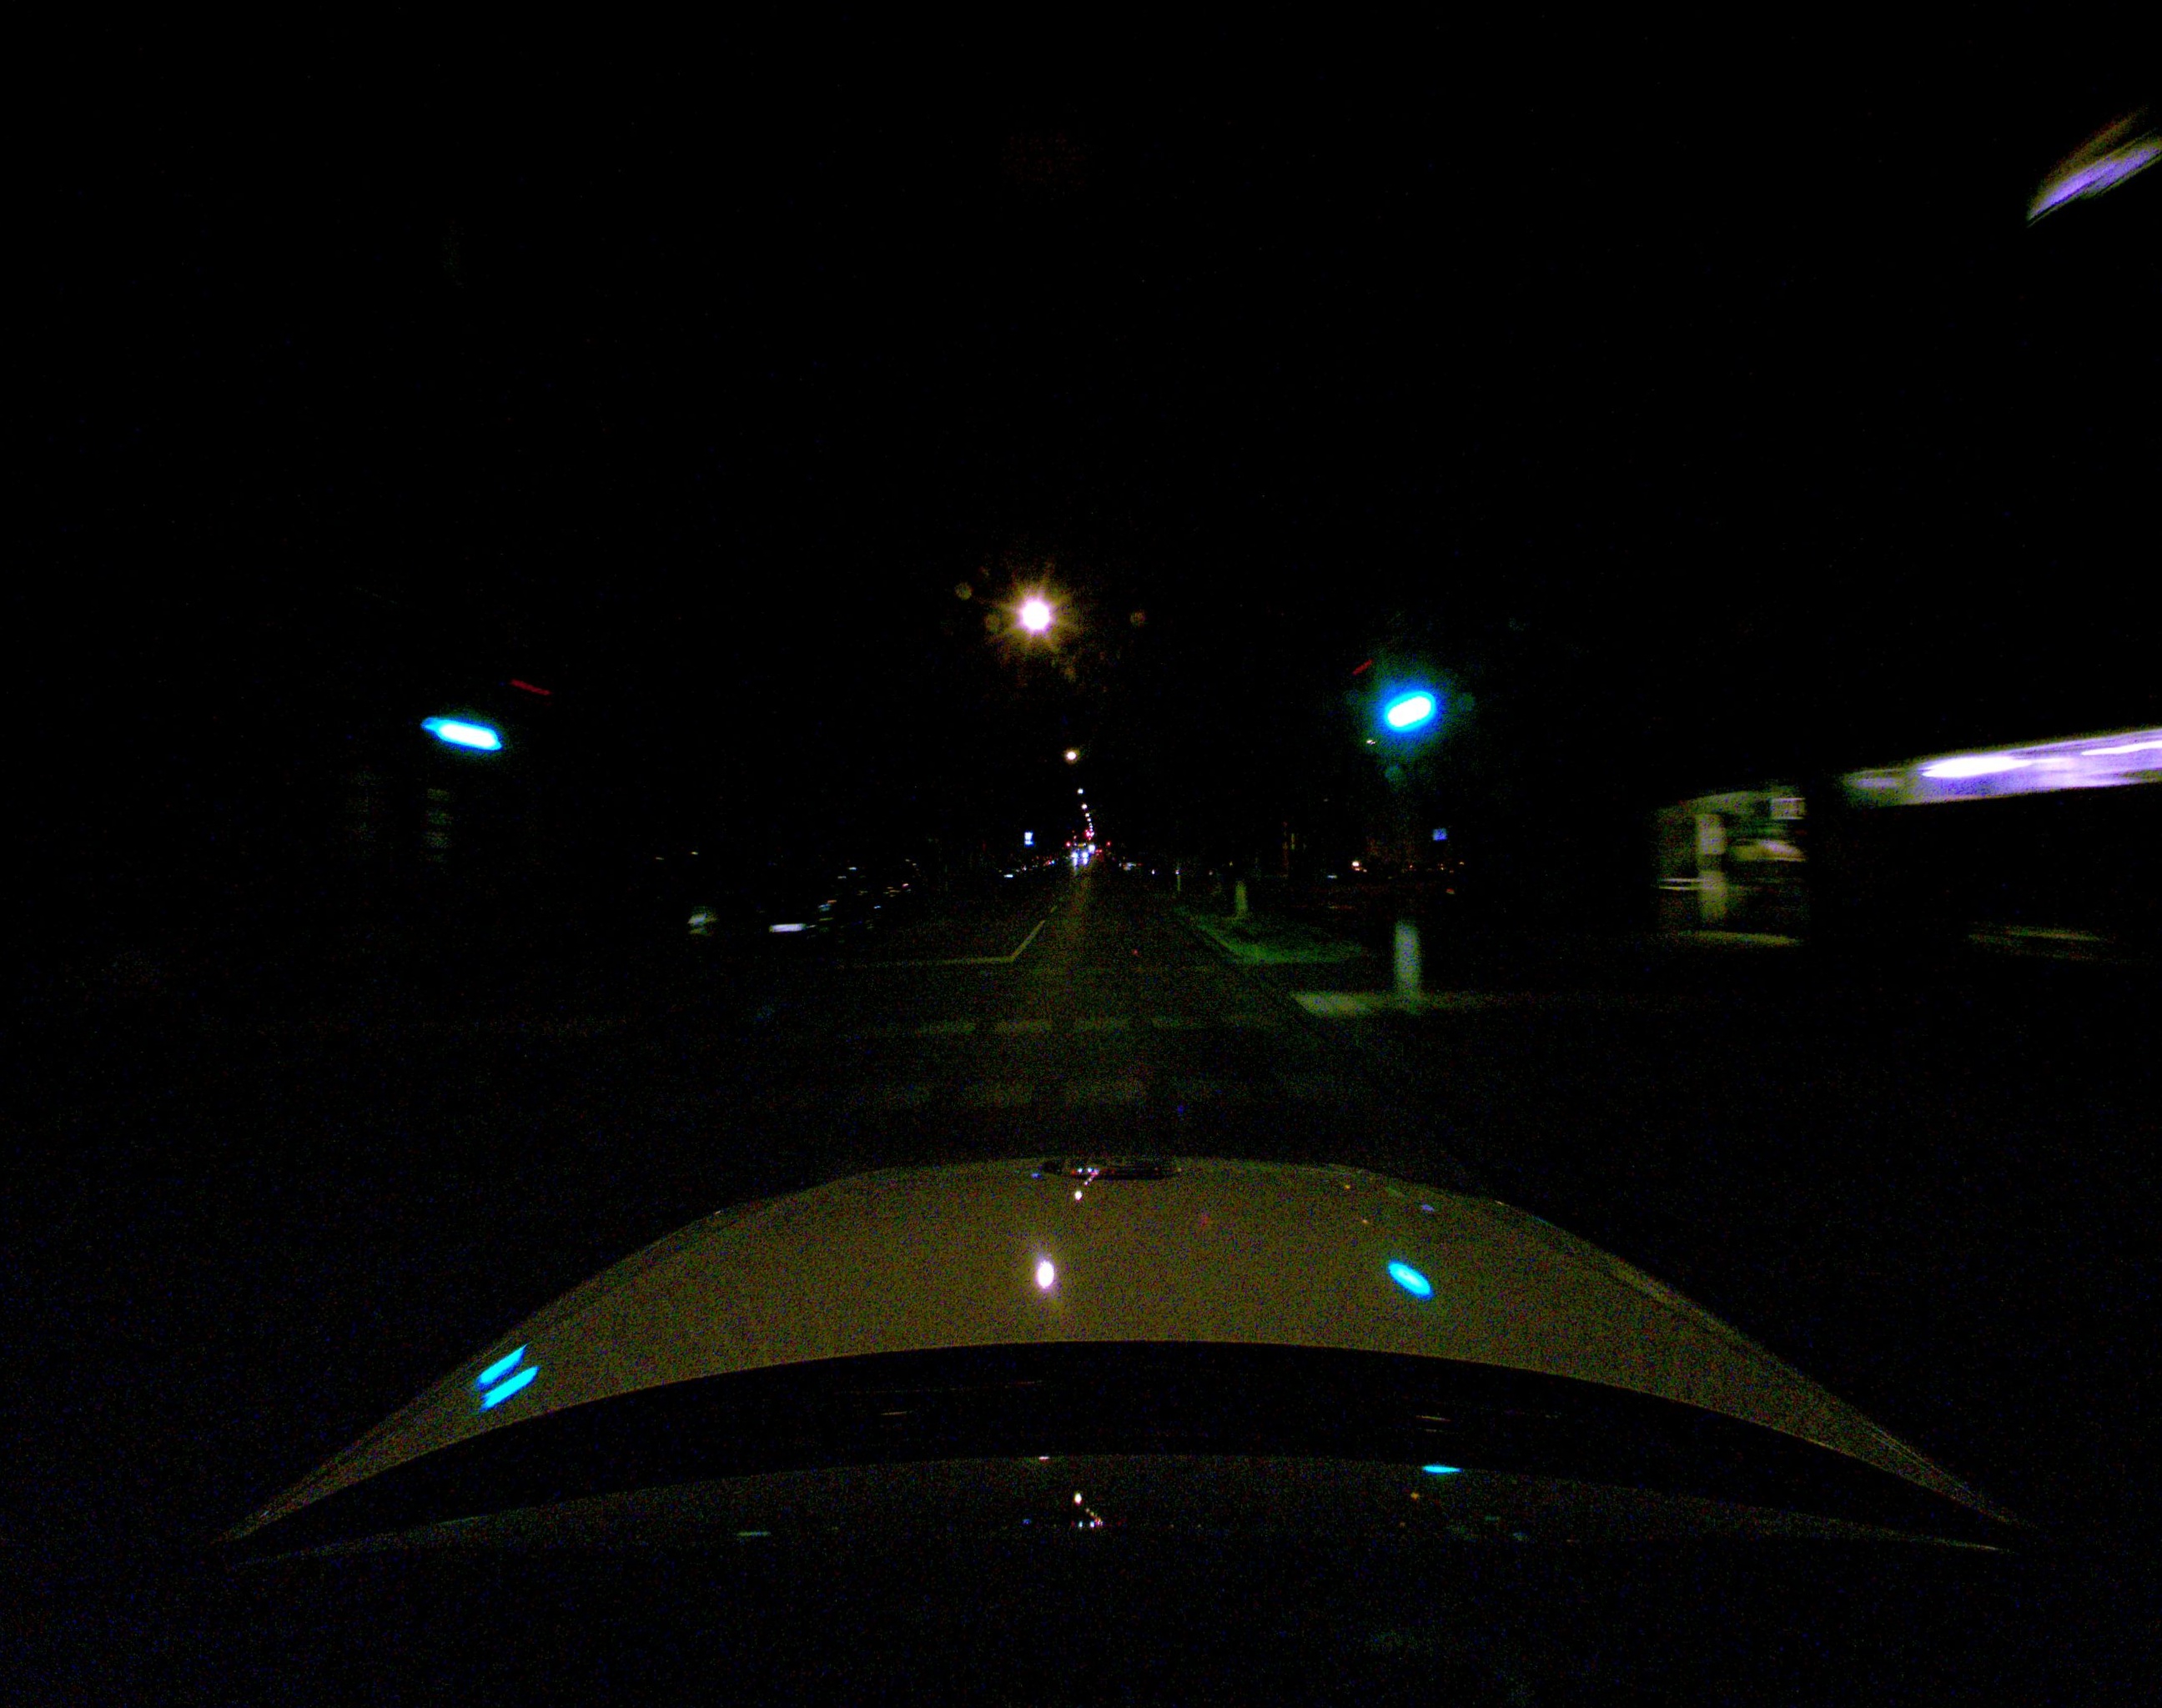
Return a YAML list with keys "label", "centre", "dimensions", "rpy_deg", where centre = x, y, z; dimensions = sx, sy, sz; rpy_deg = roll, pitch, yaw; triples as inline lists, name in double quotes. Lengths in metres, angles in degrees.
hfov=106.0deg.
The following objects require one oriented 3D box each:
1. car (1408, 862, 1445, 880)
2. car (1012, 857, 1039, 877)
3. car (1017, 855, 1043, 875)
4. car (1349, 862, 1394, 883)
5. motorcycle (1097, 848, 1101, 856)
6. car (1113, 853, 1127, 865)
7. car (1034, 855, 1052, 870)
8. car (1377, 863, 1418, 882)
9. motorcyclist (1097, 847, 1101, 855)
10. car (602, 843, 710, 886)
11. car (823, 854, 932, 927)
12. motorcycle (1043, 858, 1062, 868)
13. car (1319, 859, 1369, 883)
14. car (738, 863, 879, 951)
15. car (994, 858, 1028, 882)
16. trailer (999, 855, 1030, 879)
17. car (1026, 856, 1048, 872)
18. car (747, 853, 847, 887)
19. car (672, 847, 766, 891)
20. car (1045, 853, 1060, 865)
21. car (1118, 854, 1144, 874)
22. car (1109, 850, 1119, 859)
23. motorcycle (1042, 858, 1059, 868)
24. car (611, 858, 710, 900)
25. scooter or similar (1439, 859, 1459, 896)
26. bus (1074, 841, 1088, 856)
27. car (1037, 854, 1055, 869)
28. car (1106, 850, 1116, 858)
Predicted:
- label: "car"
  centre: [28.091, 1.371, 66.133]
  dimensions: [1.752, 1.417, 3.944]
  rpy_deg: [-1, -1, 38]
- label: "car"
  centre: [-4.335, 0.995, 64.145]
  dimensions: [1.829, 1.446, 4.544]
  rpy_deg: [-1, 0, 0]
- label: "car"
  centre: [-4.314, 0.910, 69.316]
  dimensions: [1.828, 1.619, 4.546]
  rpy_deg: [0, 0, 1]
- label: "car"
  centre: [20.139, 1.238, 56.436]
  dimensions: [1.779, 1.417, 3.862]
  rpy_deg: [-1, -1, 38]
- label: "motorcycle"
  centre: [4.003, -0.455, 177.960]
  dimensions: [0.927, 1.752, 2.625]
  rpy_deg: [0, -1, 1]
- label: "car"
  centre: [5.012, 0.620, 105.370]
  dimensions: [1.756, 1.476, 4.082]
  rpy_deg: [-3, 1, 1]
- label: "car"
  centre: [-3.874, 0.874, 82.456]
  dimensions: [1.616, 1.491, 3.780]
  rpy_deg: [0, -1, 0]
- label: "car"
  centre: [23.628, 1.372, 60.760]
  dimensions: [1.752, 1.341, 3.944]
  rpy_deg: [-1, -1, 38]
- label: "motorcyclist"
  centre: [4.000, -0.636, 177.962]
  dimensions: [0.846, 1.752, 0.805]
  rpy_deg: [0, -1, 1]
- label: "car"
  centre: [-17.166, 0.444, 33.128]
  dimensions: [1.745, 1.606, 3.991]
  rpy_deg: [1, -1, 10]
- label: "car"
  centre: [-5.180, 0.853, 21.385]
  dimensions: [1.844, 1.650, 4.667]
  rpy_deg: [0, 0, -2]
- label: "motorcycle"
  centre: [-3.401, 1.031, 96.454]
  dimensions: [2.180, 1.131, 0.720]
  rpy_deg: [-1, 1, 34]
- label: "car"
  centre: [16.730, 1.050, 51.663]
  dimensions: [1.779, 1.417, 3.862]
  rpy_deg: [-1, -1, 38]
- label: "car"
  centre: [-5.160, 0.933, 15.921]
  dimensions: [1.643, 1.514, 3.698]
  rpy_deg: [0, -1, -3]
- label: "car"
  centre: [-4.566, 1.018, 53.596]
  dimensions: [1.809, 1.484, 4.346]
  rpy_deg: [-1, 0, 0]
- label: "trailer"
  centre: [-4.709, 0.936, 58.189]
  dimensions: [1.629, 1.640, 3.444]
  rpy_deg: [0, -1, 6]
- label: "car"
  centre: [-4.142, 0.978, 77.947]
  dimensions: [1.857, 1.491, 4.280]
  rpy_deg: [0, -1, 0]
- label: "car"
  centre: [-13.132, 0.733, 37.721]
  dimensions: [3.962, 1.425, 1.767]
  rpy_deg: [2, 0, 10]
- label: "car"
  centre: [-14.068, 0.564, 31.928]
  dimensions: [1.750, 1.538, 4.186]
  rpy_deg: [2, -1, 0]
- label: "car"
  centre: [-3.609, 0.606, 102.066]
  dimensions: [1.632, 1.498, 2.767]
  rpy_deg: [-1, -1, 3]
- label: "car"
  centre: [4.050, 0.803, 66.927]
  dimensions: [1.839, 1.417, 4.645]
  rpy_deg: [-4, -1, 0]
- label: "car"
  centre: [6.190, 0.085, 154.071]
  dimensions: [1.805, 1.594, 4.274]
  rpy_deg: [-2, 1, 1]
- label: "motorcycle"
  centre: [-3.496, 1.004, 94.435]
  dimensions: [0.720, 1.147, 2.182]
  rpy_deg: [-2, 1, -41]
- label: "car"
  centre: [-14.247, 0.809, 27.788]
  dimensions: [1.551, 1.317, 3.561]
  rpy_deg: [0, -1, -1]
- label: "scooter or similar"
  centre: [11.899, 0.751, 26.314]
  dimensions: [0.494, 1.146, 1.676]
  rpy_deg: [-4, -2, 25]
- label: "bus"
  centre: [0.033, -1.157, 172.490]
  dimensions: [2.827, 3.177, 10.501]
  rpy_deg: [0, 1, 1]
- label: "car"
  centre: [-3.818, 0.810, 90.196]
  dimensions: [1.698, 1.491, 4.228]
  rpy_deg: [-2, 0, 0]
- label: "car"
  centre: [6.181, 0.037, 167.548]
  dimensions: [1.862, 1.526, 4.151]
  rpy_deg: [-2, 1, 1]
